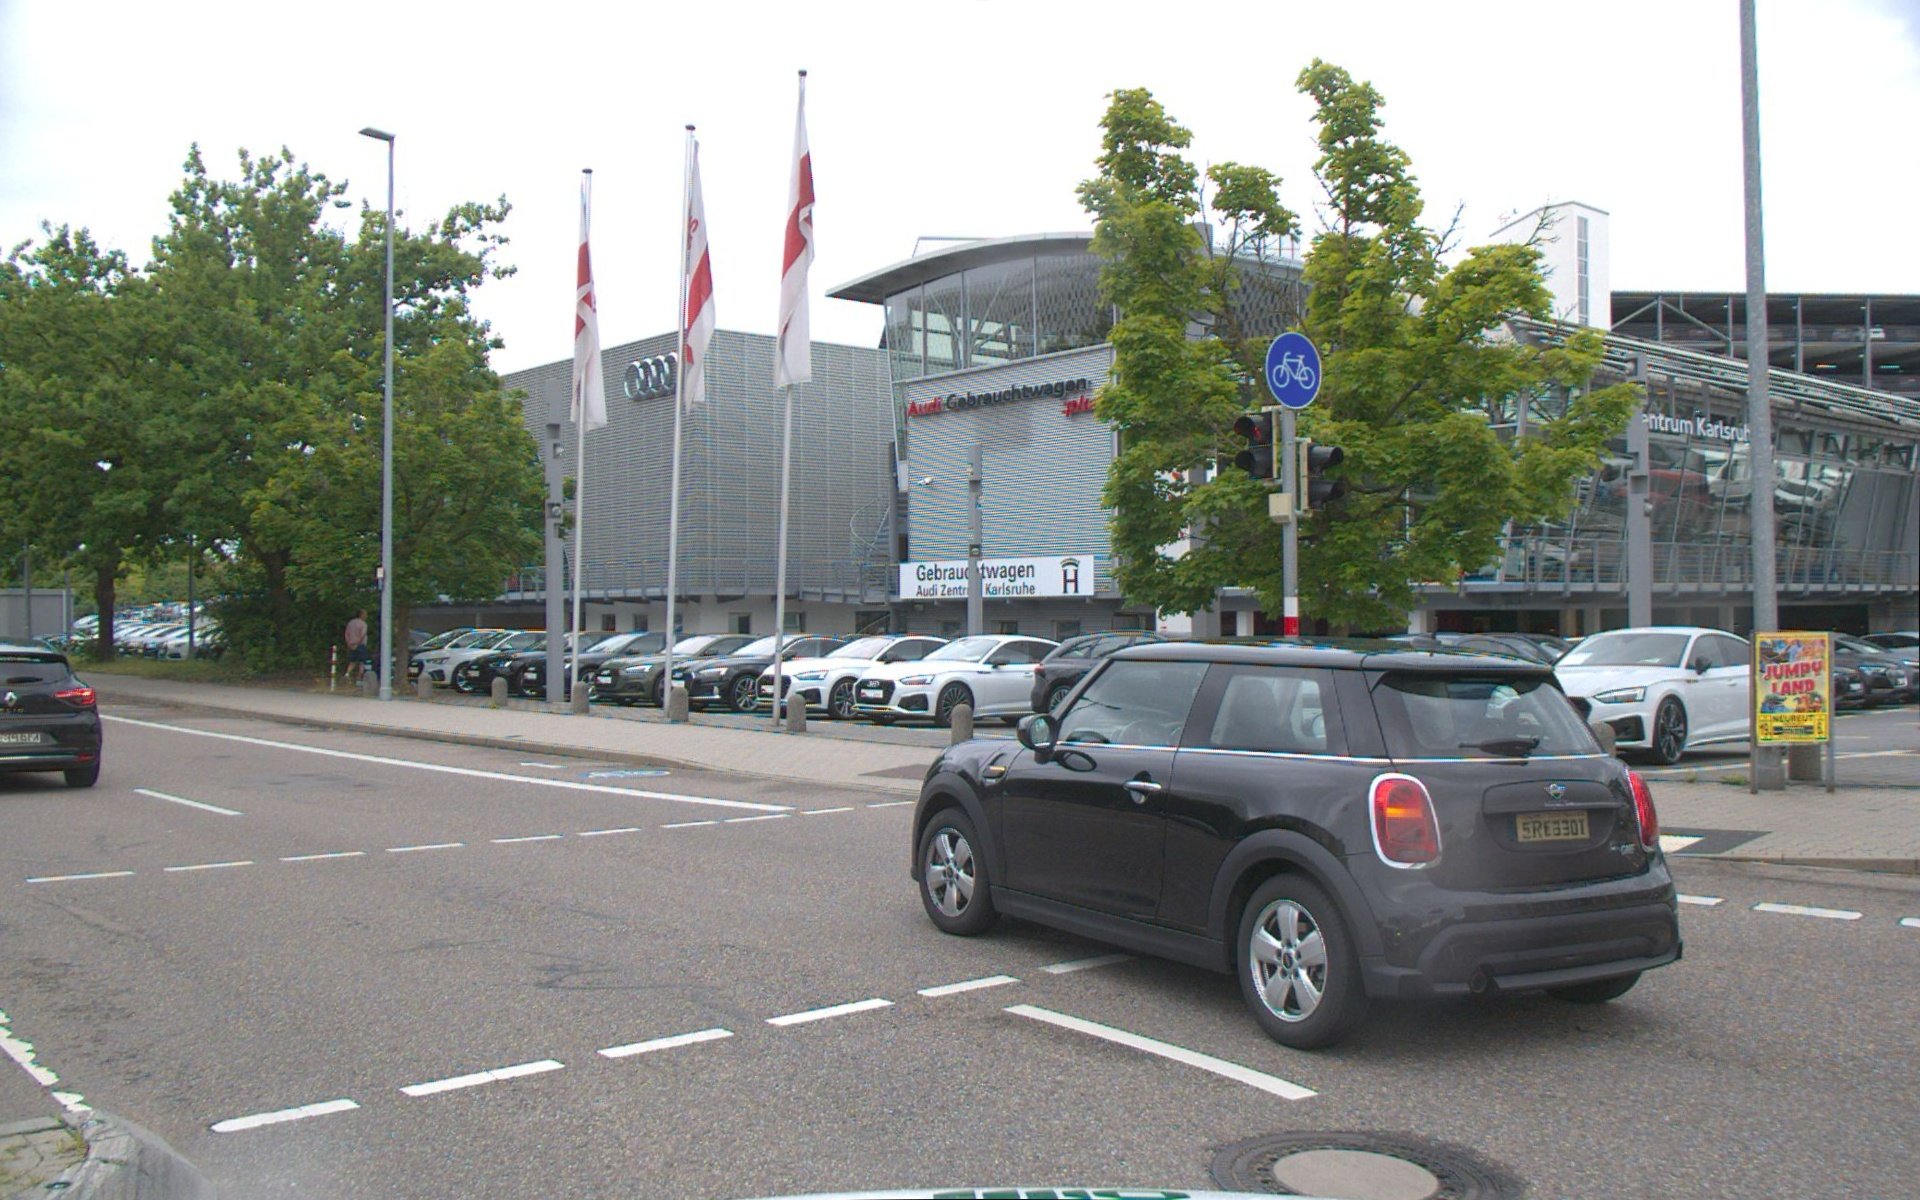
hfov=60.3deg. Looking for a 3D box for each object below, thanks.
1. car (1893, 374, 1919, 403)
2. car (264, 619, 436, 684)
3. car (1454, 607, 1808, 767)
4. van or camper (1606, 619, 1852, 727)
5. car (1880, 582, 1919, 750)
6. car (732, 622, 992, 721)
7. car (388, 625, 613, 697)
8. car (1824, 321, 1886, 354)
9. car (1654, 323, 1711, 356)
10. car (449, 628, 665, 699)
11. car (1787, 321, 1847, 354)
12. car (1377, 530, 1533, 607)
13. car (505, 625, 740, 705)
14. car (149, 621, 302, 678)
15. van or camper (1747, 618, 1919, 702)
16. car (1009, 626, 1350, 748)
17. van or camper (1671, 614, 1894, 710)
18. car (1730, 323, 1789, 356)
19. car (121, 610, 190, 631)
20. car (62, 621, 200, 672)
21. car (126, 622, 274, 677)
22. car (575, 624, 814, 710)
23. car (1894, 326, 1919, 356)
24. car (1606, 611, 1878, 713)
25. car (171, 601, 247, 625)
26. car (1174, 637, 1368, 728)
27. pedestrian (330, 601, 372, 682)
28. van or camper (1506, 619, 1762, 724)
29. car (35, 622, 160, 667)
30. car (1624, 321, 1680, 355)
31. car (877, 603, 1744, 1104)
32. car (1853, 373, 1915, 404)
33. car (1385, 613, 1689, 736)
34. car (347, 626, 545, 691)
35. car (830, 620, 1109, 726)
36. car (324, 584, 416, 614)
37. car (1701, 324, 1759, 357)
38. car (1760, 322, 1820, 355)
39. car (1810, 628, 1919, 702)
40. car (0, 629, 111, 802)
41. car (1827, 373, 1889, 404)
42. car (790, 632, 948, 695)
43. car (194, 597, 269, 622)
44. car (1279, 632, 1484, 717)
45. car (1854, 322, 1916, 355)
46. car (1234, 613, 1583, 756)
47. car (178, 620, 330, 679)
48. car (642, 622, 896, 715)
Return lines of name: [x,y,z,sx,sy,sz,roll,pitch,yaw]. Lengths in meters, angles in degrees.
car: [68.729,-15.137,117.948,1.955,1.696,3.995,0,0,-5]
car: [-17.268,1.473,46.946,4.101,1.418,1.842,8,-5,-42]
car: [7.288,0.921,17.793,4.191,1.512,1.847,3,-3,-41]
van or camper: [14.867,1.350,32.114,1.831,1.847,3.941,1,0,-41]
car: [12.882,0.675,17.889,1.983,1.895,4.714,1,-3,-42]
car: [-1.574,1.204,27.469,4.008,1.512,1.849,4,-3,-41]
car: [-10.436,1.418,37.803,4.624,1.498,1.819,3,-2,-42]
car: [63.605,-18.627,117.592,1.955,1.696,3.995,0,0,-5]
car: [50.843,-18.296,116.447,1.955,1.696,3.995,0,0,-5]
car: [-8.681,1.389,35.814,4.131,1.415,1.874,4,-3,-42]
car: [60.796,-18.590,117.400,1.955,1.696,3.995,0,0,-5]
car: [11.818,-0.718,39.391,3.967,1.691,1.797,1,0,-43]
car: [-6.843,1.340,33.807,4.341,1.496,1.866,4,-3,-42]
car: [-24.264,1.646,54.720,4.173,1.512,1.929,7,-3,-42]
van or camper: [20.479,1.334,37.990,1.831,1.741,3.941,1,0,-41]
car: [2.935,1.170,23.021,1.875,1.512,4.685,4,-3,-40]
van or camper: [17.771,1.293,35.859,1.831,1.847,3.941,1,0,-41]
car: [56.388,-18.381,116.711,1.955,1.696,3.995,0,0,-5]
car: [-57.136,1.474,117.480,4.065,1.461,1.703,1,0,-43]
car: [-32.376,1.815,64.663,4.367,1.547,1.971,8,-4,-41]
car: [-25.960,1.709,56.582,4.157,1.512,1.948,7,-3,-41]
car: [-5.024,1.298,31.631,4.154,1.512,1.879,4,-3,-42]
car: [68.858,-18.525,117.999,1.955,1.696,3.995,0,0,-5]
car: [16.189,1.236,34.449,1.981,1.973,4.748,0,-1,-40]
car: [-49.217,0.866,108.433,4.178,1.461,1.703,1,0,-43]
car: [6.591,1.680,34.801,4.281,1.725,1.783,1,0,-42]
pedestrian: [-14.481,1.000,39.336,0.713,1.904,0.663,3,-3,-41]
van or camper: [12.474,1.276,30.763,1.982,1.706,3.940,1,0,-41]
car: [-35.617,1.846,68.354,4.150,1.471,1.932,8,-4,-40]
car: [48.492,-18.352,116.002,1.955,1.696,3.995,0,0,-5]
car: [1.240,0.801,7.210,1.767,1.440,3.607,-2,2,-30]
car: [65.911,-15.086,118.041,1.955,1.696,3.995,0,0,-5]
car: [10.056,1.241,29.146,1.981,1.973,4.748,0,-1,-40]
car: [-12.334,1.428,39.848,4.181,1.446,1.827,3,-3,-42]
car: [0.206,1.158,25.644,4.159,1.512,1.825,4,-3,-41]
car: [-31.855,-0.052,89.396,4.313,1.522,1.853,1,0,-43]
car: [54.073,-18.217,116.208,1.955,1.696,3.995,0,0,-5]
car: [58.629,-18.486,116.917,1.955,1.696,3.995,0,0,-5]
car: [25.390,1.747,44.683,1.745,1.870,3.937,1,0,-43]
car: [-9.845,1.065,16.252,1.748,1.459,3.938,0,0,-42]
car: [63.765,-14.998,117.476,1.955,1.696,3.995,0,0,-5]
car: [-2.451,1.700,45.015,4.080,1.571,1.789,1,0,-42]
car: [-46.000,0.596,104.471,4.065,1.461,1.703,1,0,-43]
car: [8.481,1.510,33.093,4.224,1.512,1.900,4,-2,-41]
car: [65.812,-18.575,117.719,1.955,1.696,3.995,0,0,-5]
car: [5.480,1.047,19.909,4.479,1.512,2.037,4,-5,-43]
car: [-22.523,1.591,52.835,4.041,1.512,1.791,7,-4,-42]
car: [-3.360,1.244,29.528,4.193,1.512,1.844,4,-3,-41]
